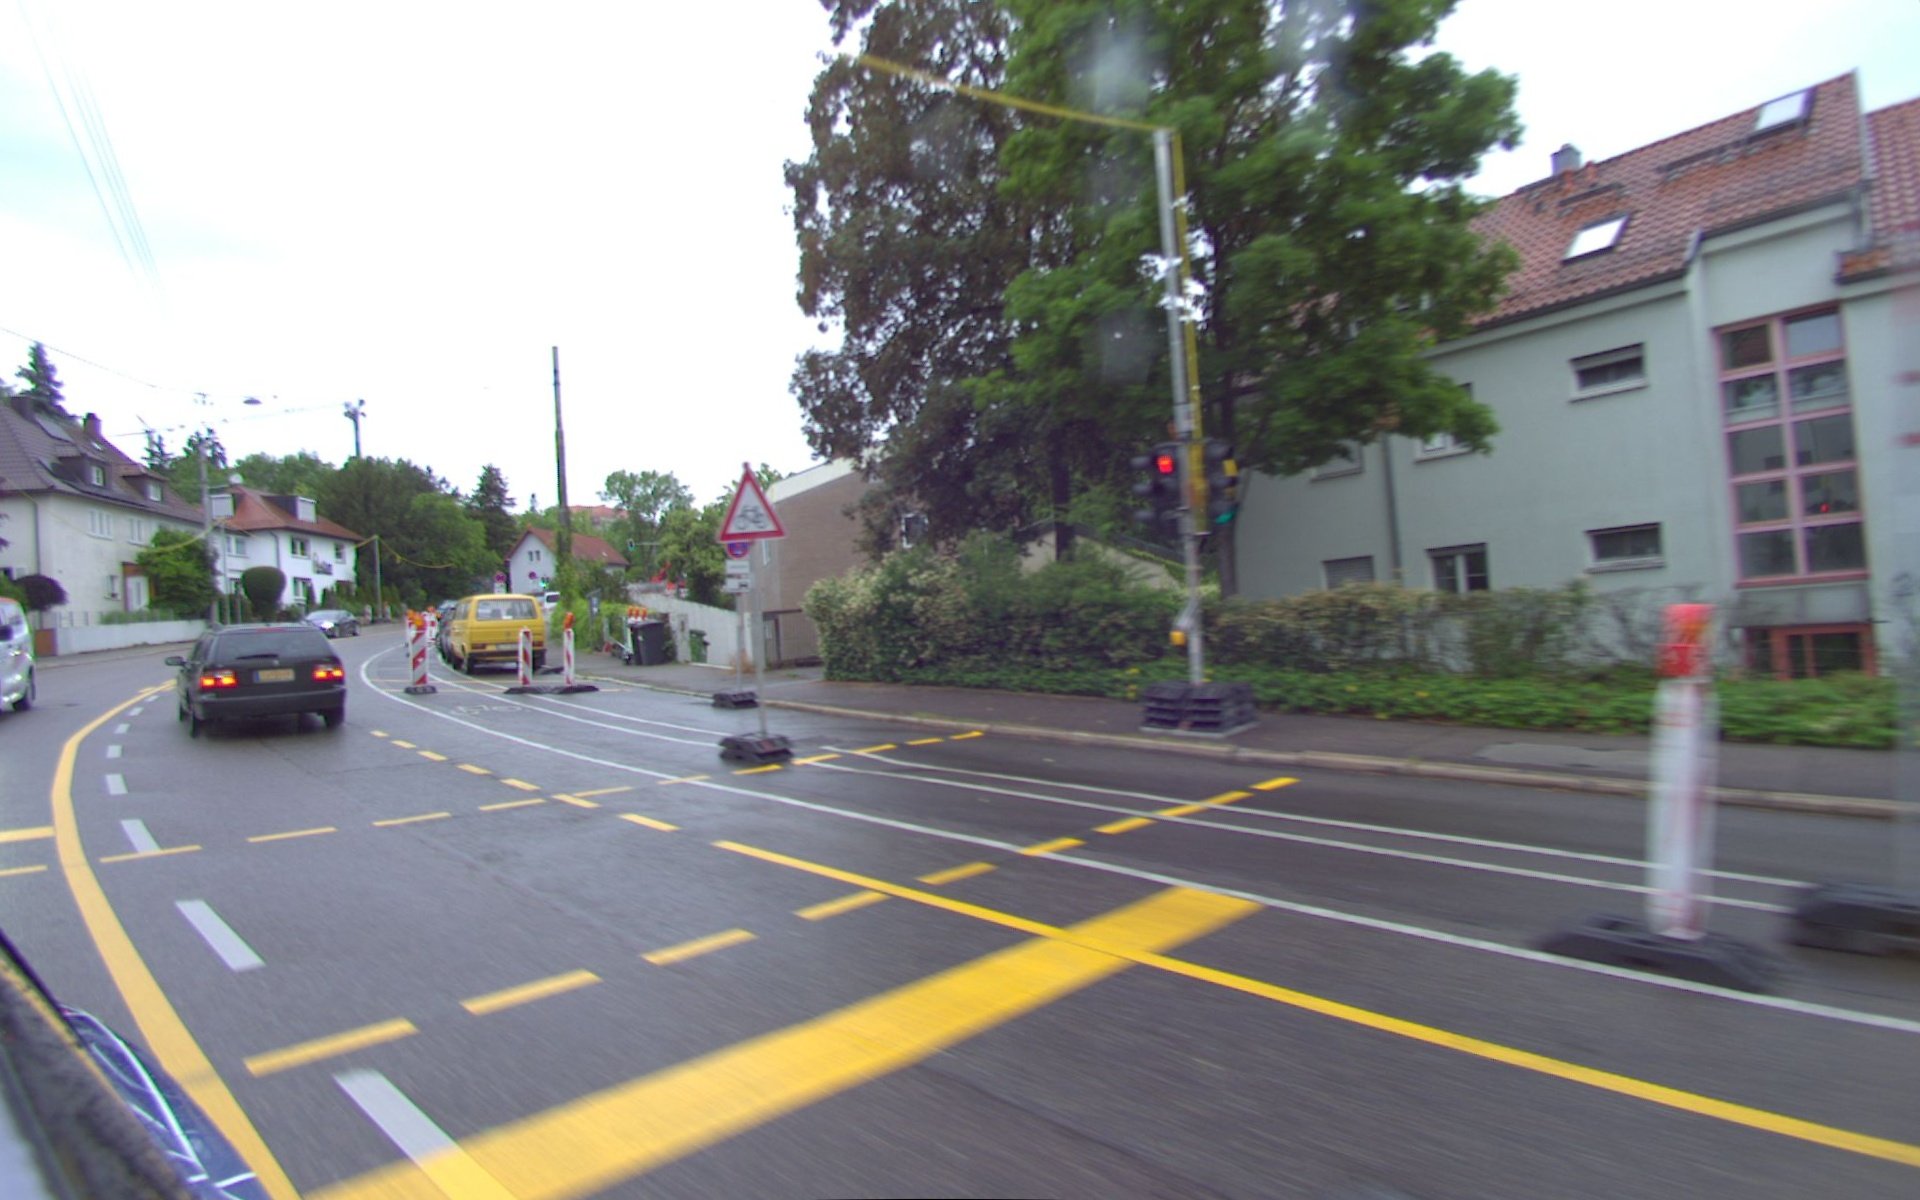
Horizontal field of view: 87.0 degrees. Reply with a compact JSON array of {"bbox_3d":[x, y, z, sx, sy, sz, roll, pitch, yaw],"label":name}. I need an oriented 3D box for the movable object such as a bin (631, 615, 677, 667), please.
[{"bbox_3d":[-7.284,0.967,24.089,0.847,1.148,0.714,-2,2,-34],"label":"movable object such as a bin"}]

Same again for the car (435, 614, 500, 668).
[{"bbox_3d":[-15.236,1.219,31.249,1.552,1.465,3.475,-1,1,-30],"label":"car"}]

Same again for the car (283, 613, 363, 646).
[{"bbox_3d":[-32.742,1.461,52.177,1.957,1.447,4.526,-2,1,-12],"label":"car"}]

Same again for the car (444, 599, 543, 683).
[{"bbox_3d":[-12.150,0.985,26.199,1.778,1.942,4.590,-1,0,-32],"label":"car"}]

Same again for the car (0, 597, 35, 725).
[{"bbox_3d":[-15.755,0.945,15.273,2.009,1.954,4.527,0,-1,-34],"label":"car"}]

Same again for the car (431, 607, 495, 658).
[{"bbox_3d":[-17.823,1.102,36.201,1.696,1.620,4.476,-2,1,-30],"label":"car"}]

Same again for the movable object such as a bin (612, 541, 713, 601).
[{"bbox_3d":[-34.827,-3.393,118.813,8.963,6.601,7.012,-1,1,12],"label":"movable object such as a bin"}]

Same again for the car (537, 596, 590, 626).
[{"bbox_3d":[-25.934,0.701,66.295,1.785,1.814,4.465,-2,1,-2],"label":"car"}]

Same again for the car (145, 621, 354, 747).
[{"bbox_3d":[-10.219,1.081,14.390,1.679,1.472,4.686,0,-1,-45],"label":"car"}]

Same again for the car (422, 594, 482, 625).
[{"bbox_3d":[-35.290,0.608,70.454,1.990,1.954,3.996,-1,1,3],"label":"car"}]

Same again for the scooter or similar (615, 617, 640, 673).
[{"bbox_3d":[-8.179,1.093,24.859,0.393,1.269,1.322,-5,3,-22],"label":"scooter or similar"}]

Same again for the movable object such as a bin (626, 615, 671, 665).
[{"bbox_3d":[-7.617,0.958,24.771,0.847,1.148,0.714,-2,2,-34],"label":"movable object such as a bin"}]
